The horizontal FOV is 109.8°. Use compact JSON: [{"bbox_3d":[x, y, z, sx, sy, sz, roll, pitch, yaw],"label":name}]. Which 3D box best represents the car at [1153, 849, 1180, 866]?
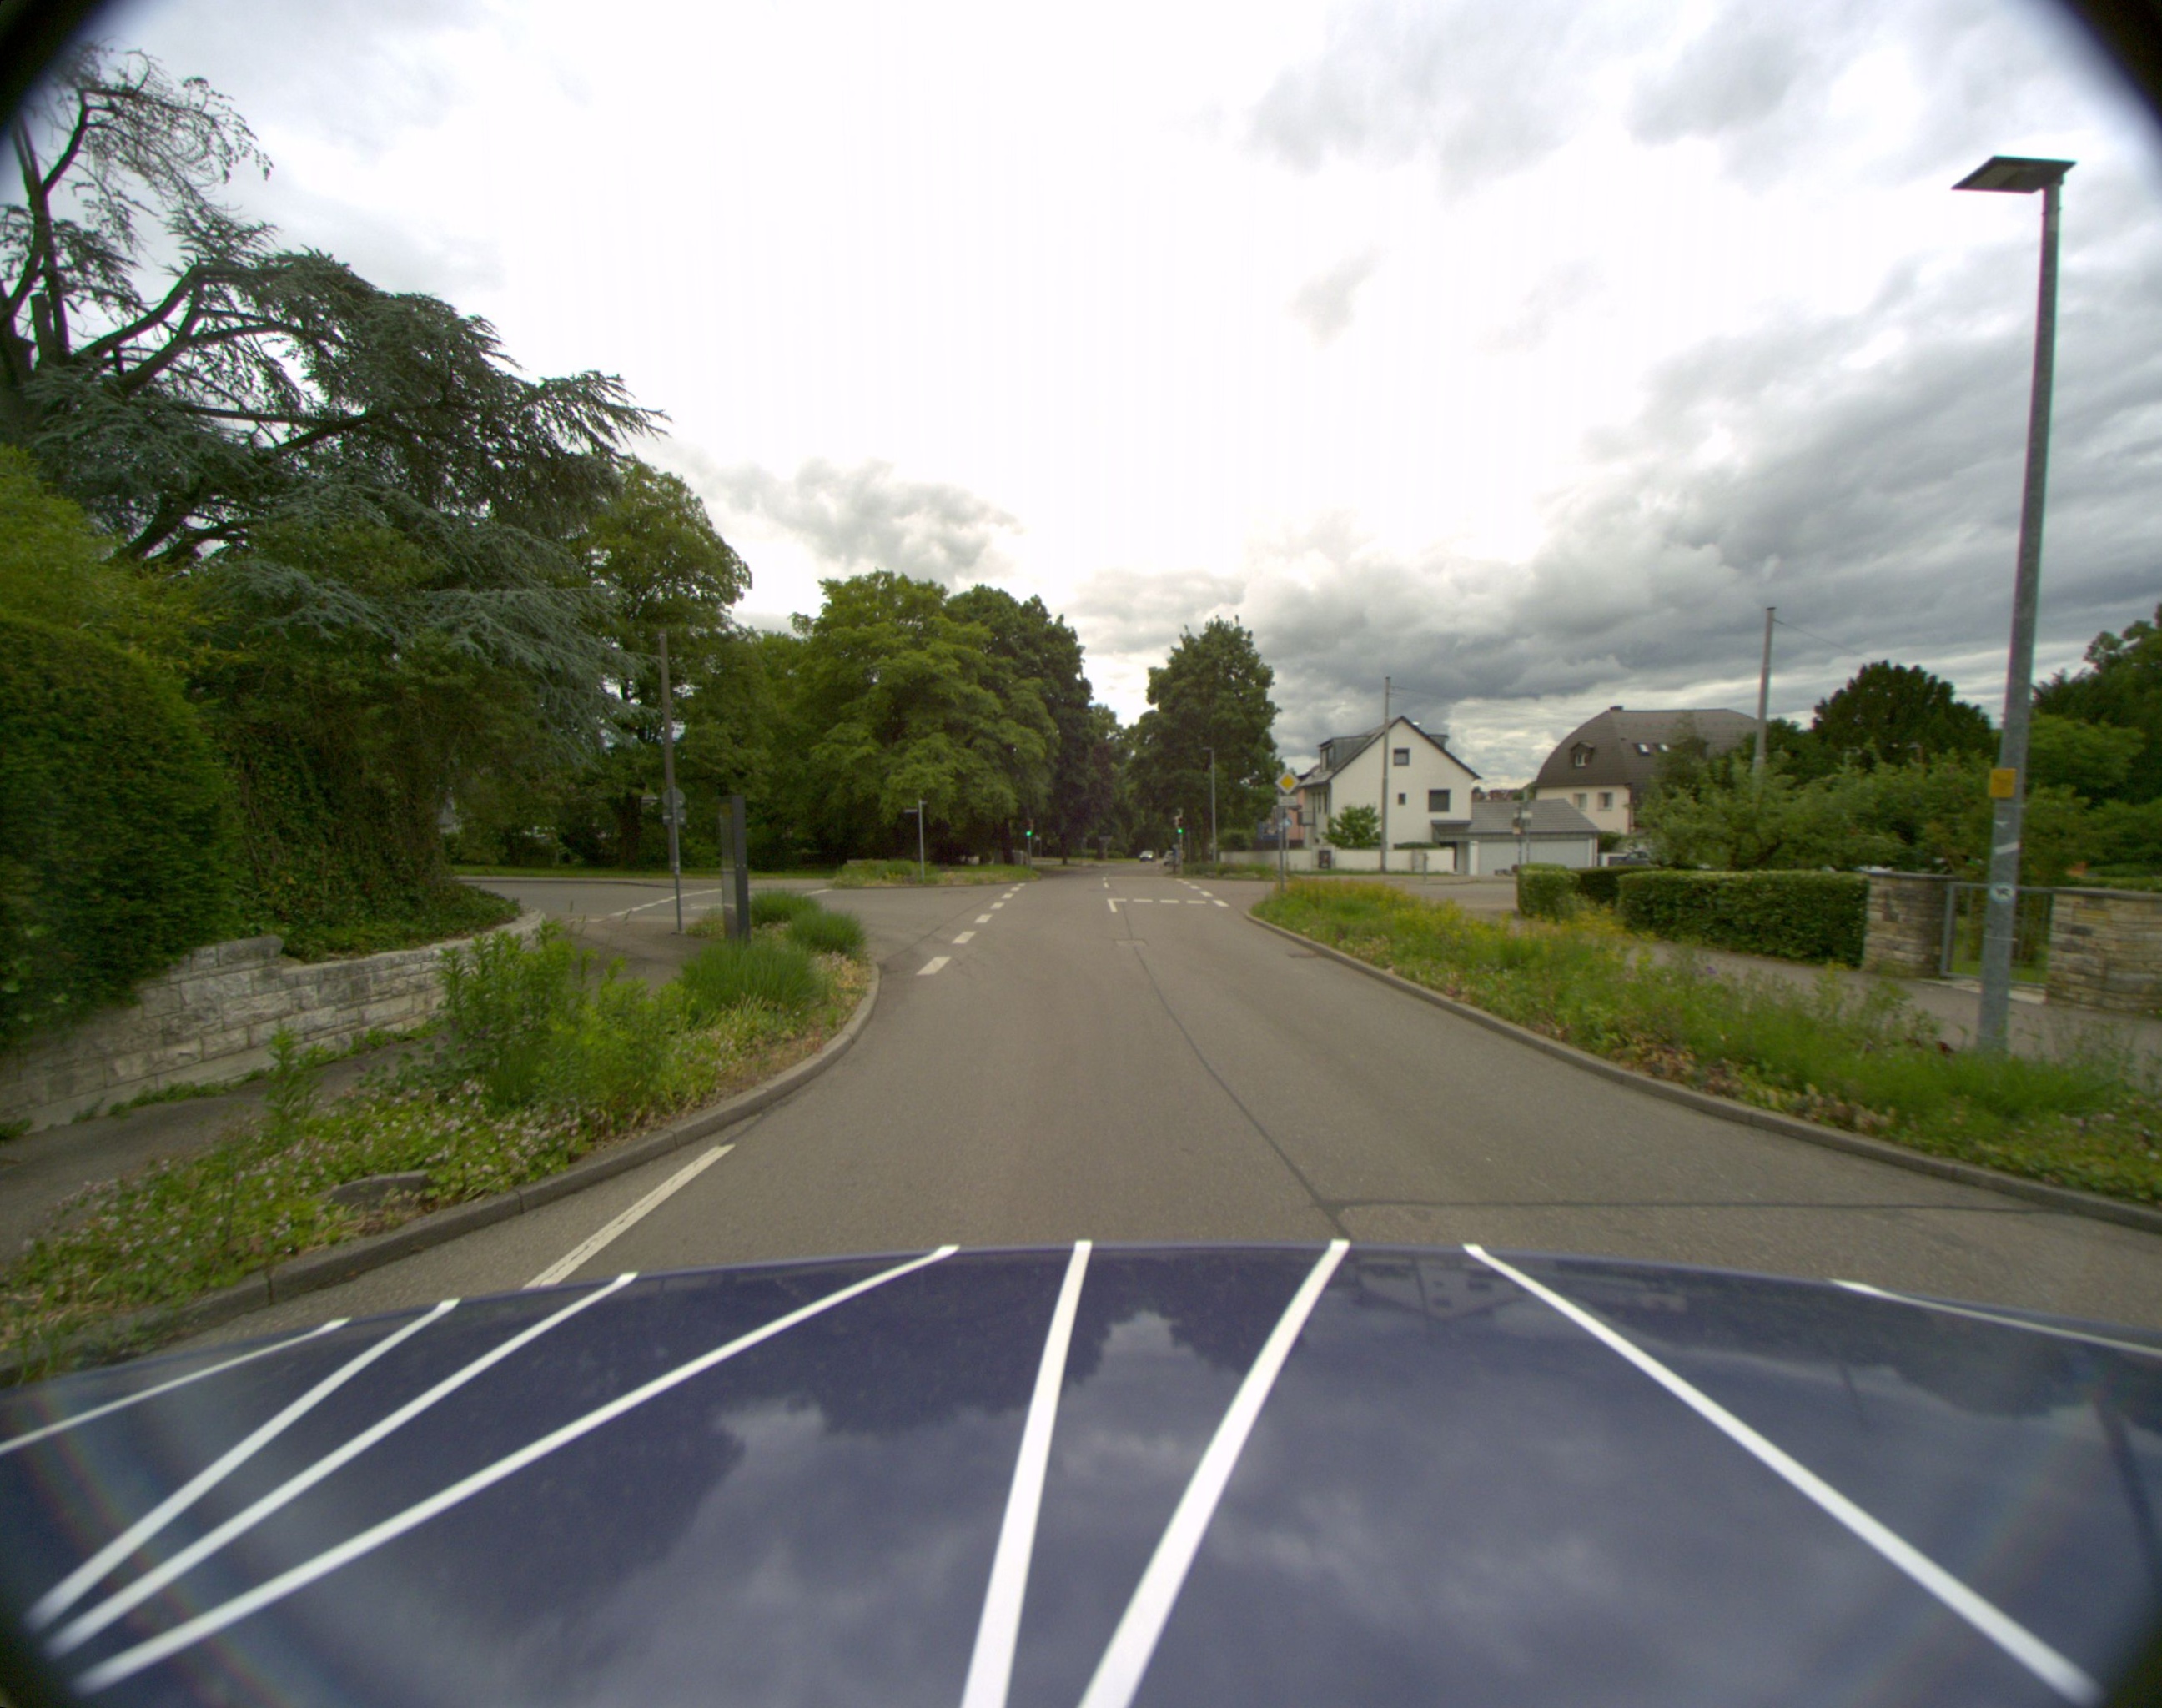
[{"bbox_3d":[8.872,0.295,78.506,1.996,1.543,4.004,2,3,17],"label":"car"}]

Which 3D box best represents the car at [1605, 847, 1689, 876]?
[{"bbox_3d":[30.574,0.454,41.183,1.691,1.487,3.860,0,-1,1],"label":"car"}]

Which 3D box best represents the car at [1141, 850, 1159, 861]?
[{"bbox_3d":[9.371,0.224,102.425,1.566,1.504,3.402,0,0,21],"label":"car"}]

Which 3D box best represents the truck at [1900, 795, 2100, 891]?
[{"bbox_3d":[46.647,-0.579,38.652,7.957,4.527,3.149,0,4,-15],"label":"truck"}]
